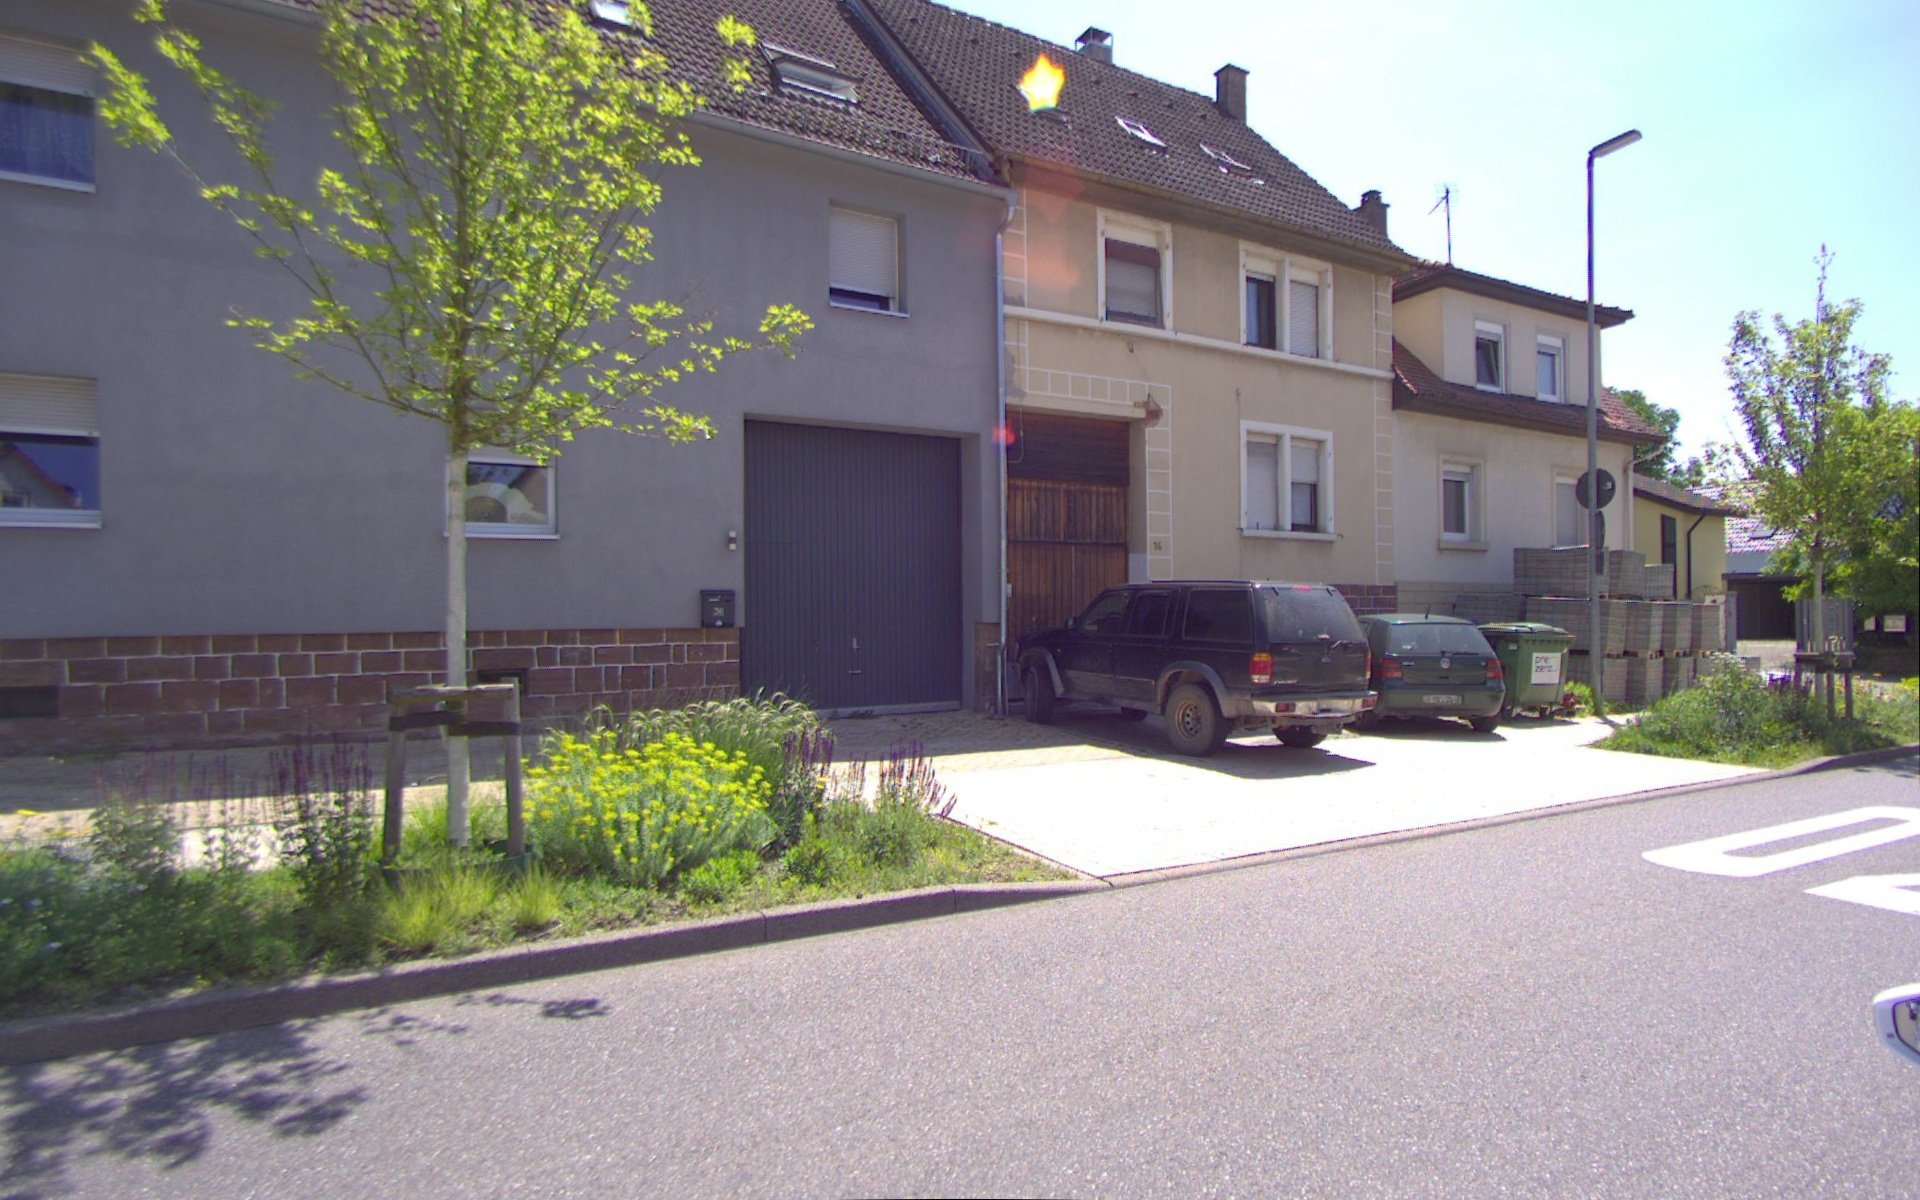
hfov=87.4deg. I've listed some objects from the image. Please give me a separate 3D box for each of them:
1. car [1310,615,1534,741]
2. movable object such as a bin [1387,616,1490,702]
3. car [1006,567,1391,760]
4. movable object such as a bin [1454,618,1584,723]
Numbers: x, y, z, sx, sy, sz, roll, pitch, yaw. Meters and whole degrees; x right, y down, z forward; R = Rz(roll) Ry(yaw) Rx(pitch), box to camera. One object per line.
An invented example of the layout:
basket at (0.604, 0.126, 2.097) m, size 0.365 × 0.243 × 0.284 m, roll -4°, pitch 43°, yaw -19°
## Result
car at (6.064, 0.950, 13.628) m, size 1.664 × 1.458 × 3.554 m, roll 1°, pitch -1°, yaw 5°
movable object such as a bin at (7.700, 0.917, 16.200) m, size 0.879 × 1.285 × 1.230 m, roll -2°, pitch 1°, yaw -32°
car at (2.479, 0.618, 11.593) m, size 1.856 × 1.773 × 4.374 m, roll 1°, pitch -1°, yaw -30°
movable object such as a bin at (7.849, 0.950, 14.119) m, size 1.385 × 1.337 × 0.986 m, roll -2°, pitch 1°, yaw -26°
